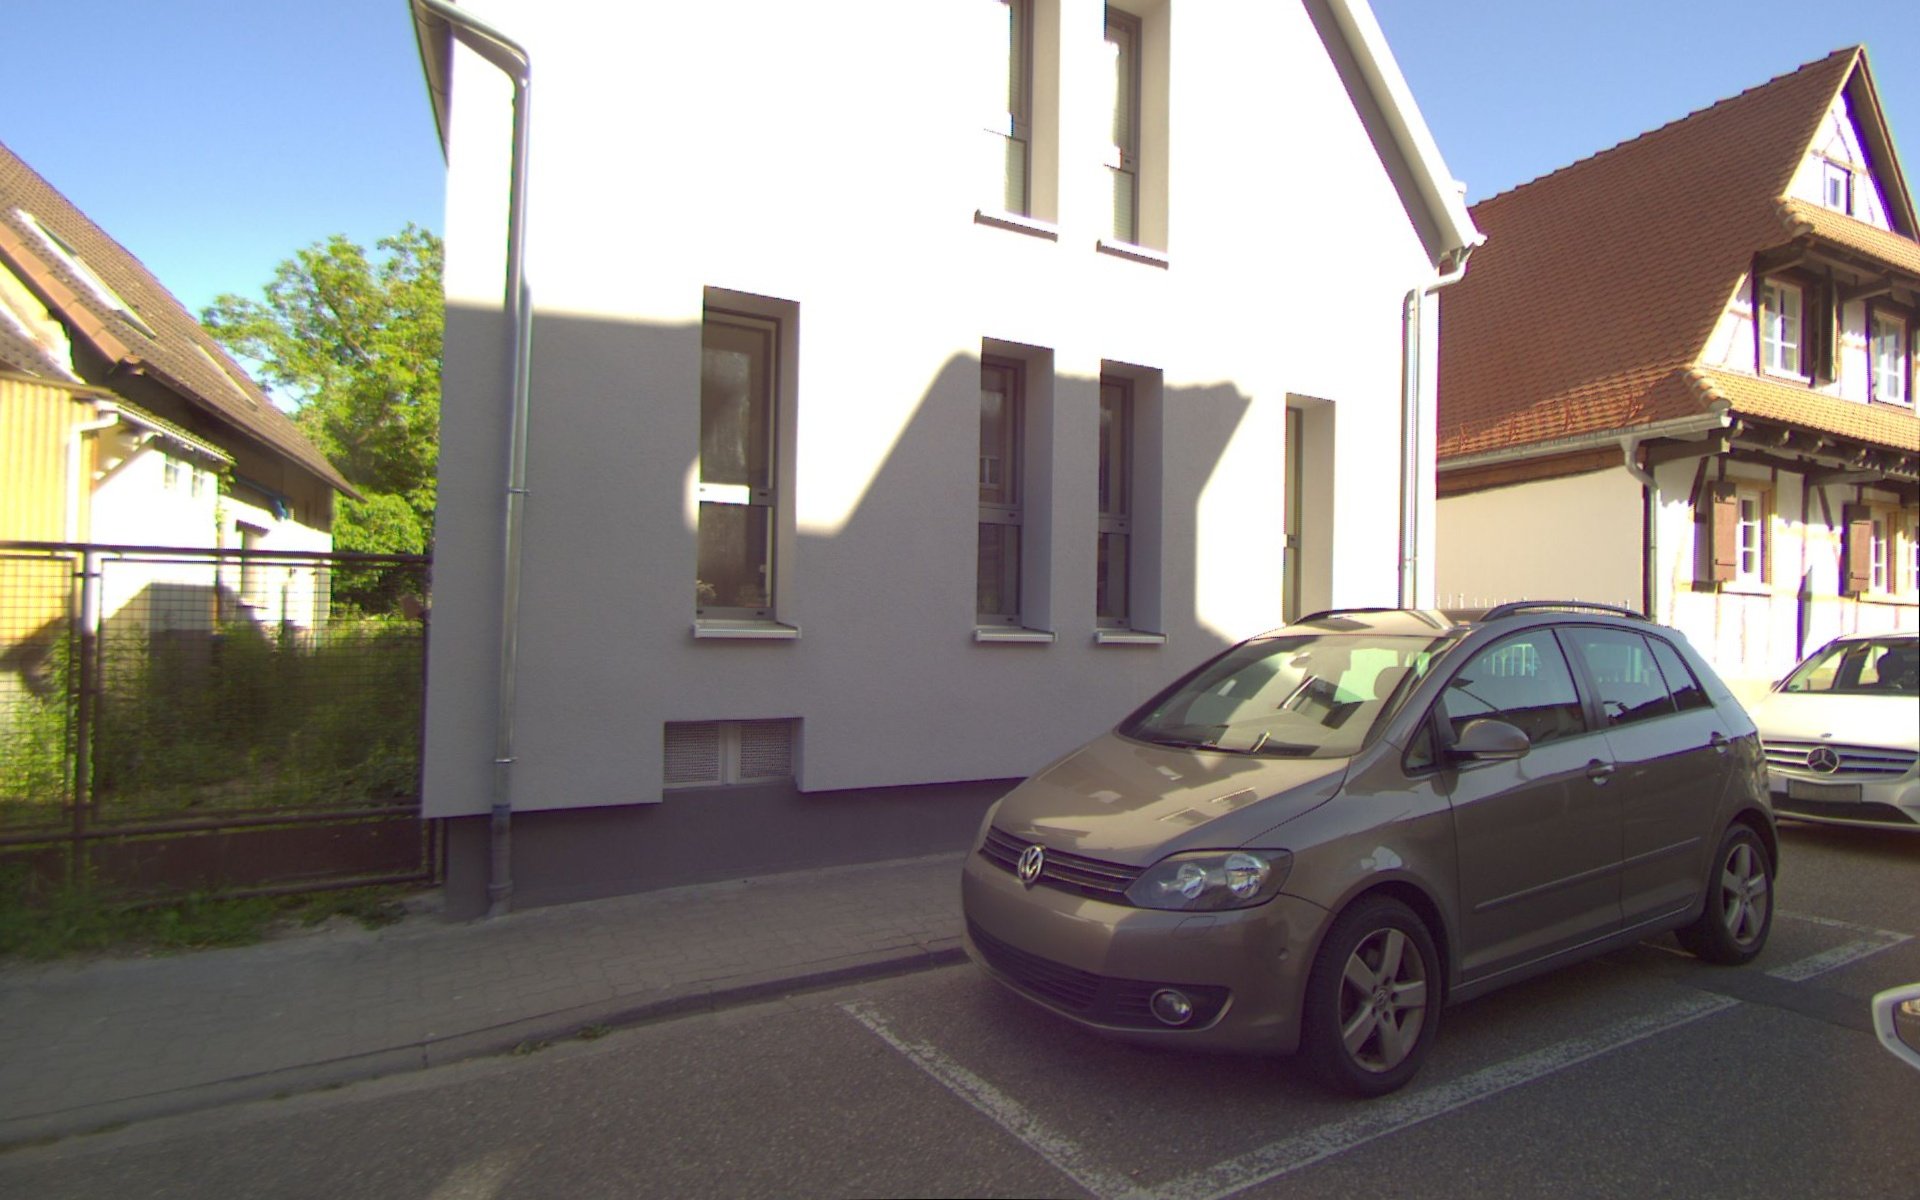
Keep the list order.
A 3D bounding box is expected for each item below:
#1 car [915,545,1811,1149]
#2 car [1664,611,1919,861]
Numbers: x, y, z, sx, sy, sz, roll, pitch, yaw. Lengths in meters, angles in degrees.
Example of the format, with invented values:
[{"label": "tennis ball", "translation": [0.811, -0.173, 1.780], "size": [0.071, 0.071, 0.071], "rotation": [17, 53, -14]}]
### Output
[{"label": "car", "translation": [1.949, 0.752, 4.517], "size": [3.955, 1.635, 1.733], "rotation": [2, -2, -31]}, {"label": "car", "translation": [7.630, 0.947, 7.906], "size": [4.117, 1.587, 1.809], "rotation": [2, -2, -29]}]
